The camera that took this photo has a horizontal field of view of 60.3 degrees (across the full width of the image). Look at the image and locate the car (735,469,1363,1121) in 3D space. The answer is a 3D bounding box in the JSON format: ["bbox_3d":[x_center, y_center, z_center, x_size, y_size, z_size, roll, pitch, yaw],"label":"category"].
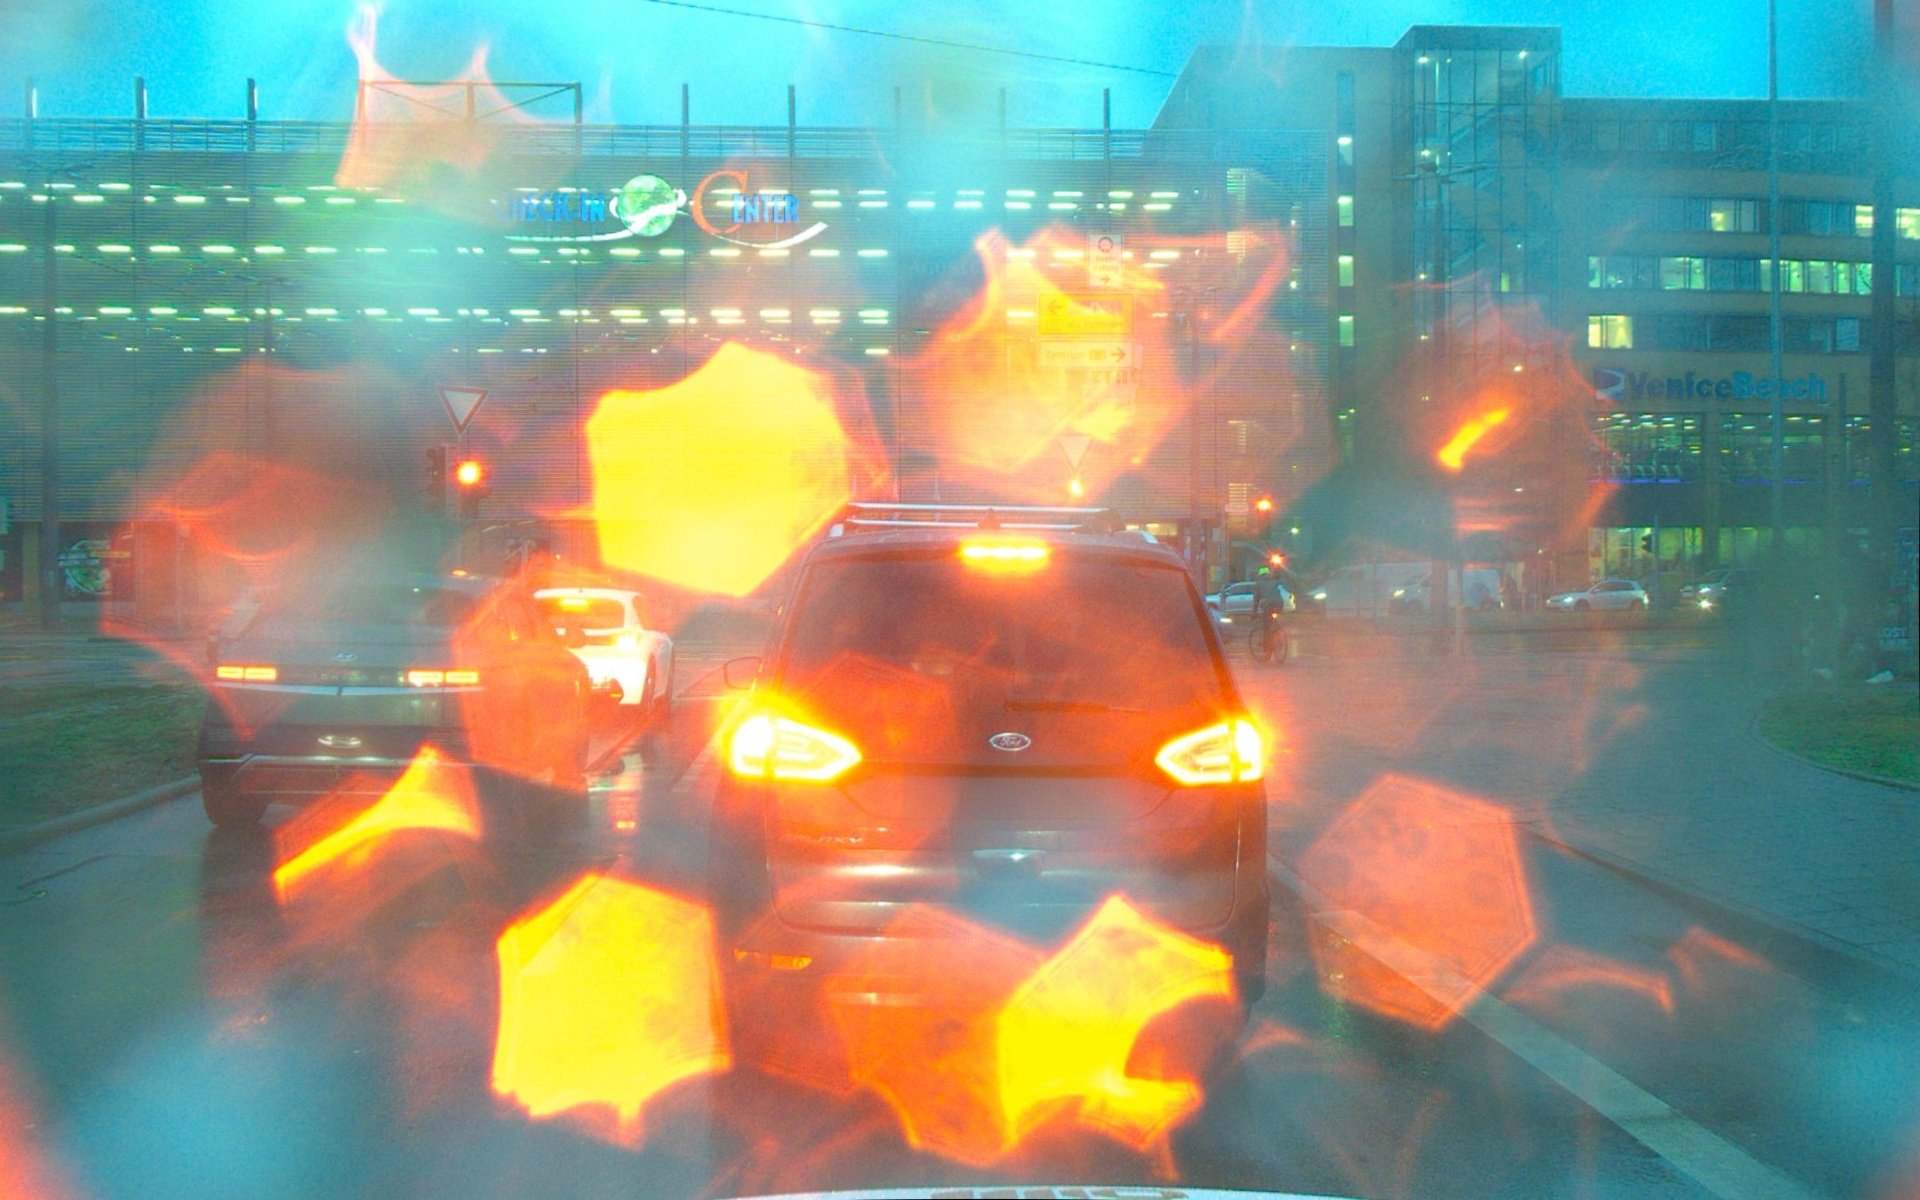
[{"bbox_3d":[0.149,0.531,6.721,1.700,1.768,4.244,2,0,-3],"label":"car"}]

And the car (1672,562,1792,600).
[{"bbox_3d":[32.704,-0.793,70.118,4.348,1.561,1.797,-1,0,-8],"label":"car"}]

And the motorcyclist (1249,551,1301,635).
[{"bbox_3d":[5.991,-0.134,31.501,0.850,1.561,1.109,0,0,5],"label":"motorcyclist"}]

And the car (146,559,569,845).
[{"bbox_3d":[-3.885,0.563,11.388,1.718,1.601,3.996,0,0,-5],"label":"car"}]

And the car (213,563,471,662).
[{"bbox_3d":[-12.393,0.242,33.443,4.584,1.883,1.827,-1,0,-11],"label":"car"}]

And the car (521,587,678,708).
[{"bbox_3d":[-4.146,0.491,19.475,1.512,1.273,4.060,0,0,-8],"label":"car"}]

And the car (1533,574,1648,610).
[{"bbox_3d":[26.184,-0.339,68.703,4.136,1.414,1.797,-1,0,-8],"label":"car"}]

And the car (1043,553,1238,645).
[{"bbox_3d":[4.025,-0.049,37.135,3.917,1.907,1.994,-2,1,-12],"label":"car"}]

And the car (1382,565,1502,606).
[{"bbox_3d":[19.585,-0.582,67.290,4.336,1.623,1.797,-1,0,-8],"label":"car"}]

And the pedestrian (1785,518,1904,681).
[{"bbox_3d":[11.011,-0.016,20.632,1.146,1.957,0.898,2,1,22],"label":"pedestrian"}]

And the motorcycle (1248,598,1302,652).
[{"bbox_3d":[5.997,0.469,31.550,0.835,0.989,1.582,0,0,5],"label":"motorcycle"}]

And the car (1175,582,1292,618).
[{"bbox_3d":[10.970,-0.007,66.437,4.336,1.414,1.797,-1,0,-8],"label":"car"}]

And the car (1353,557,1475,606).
[{"bbox_3d":[19.398,-0.780,70.766,4.747,2.035,1.797,-1,0,-8],"label":"car"}]

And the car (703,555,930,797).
[{"bbox_3d":[-1.186,0.548,13.704,1.604,1.726,3.667,1,0,-5],"label":"car"}]
